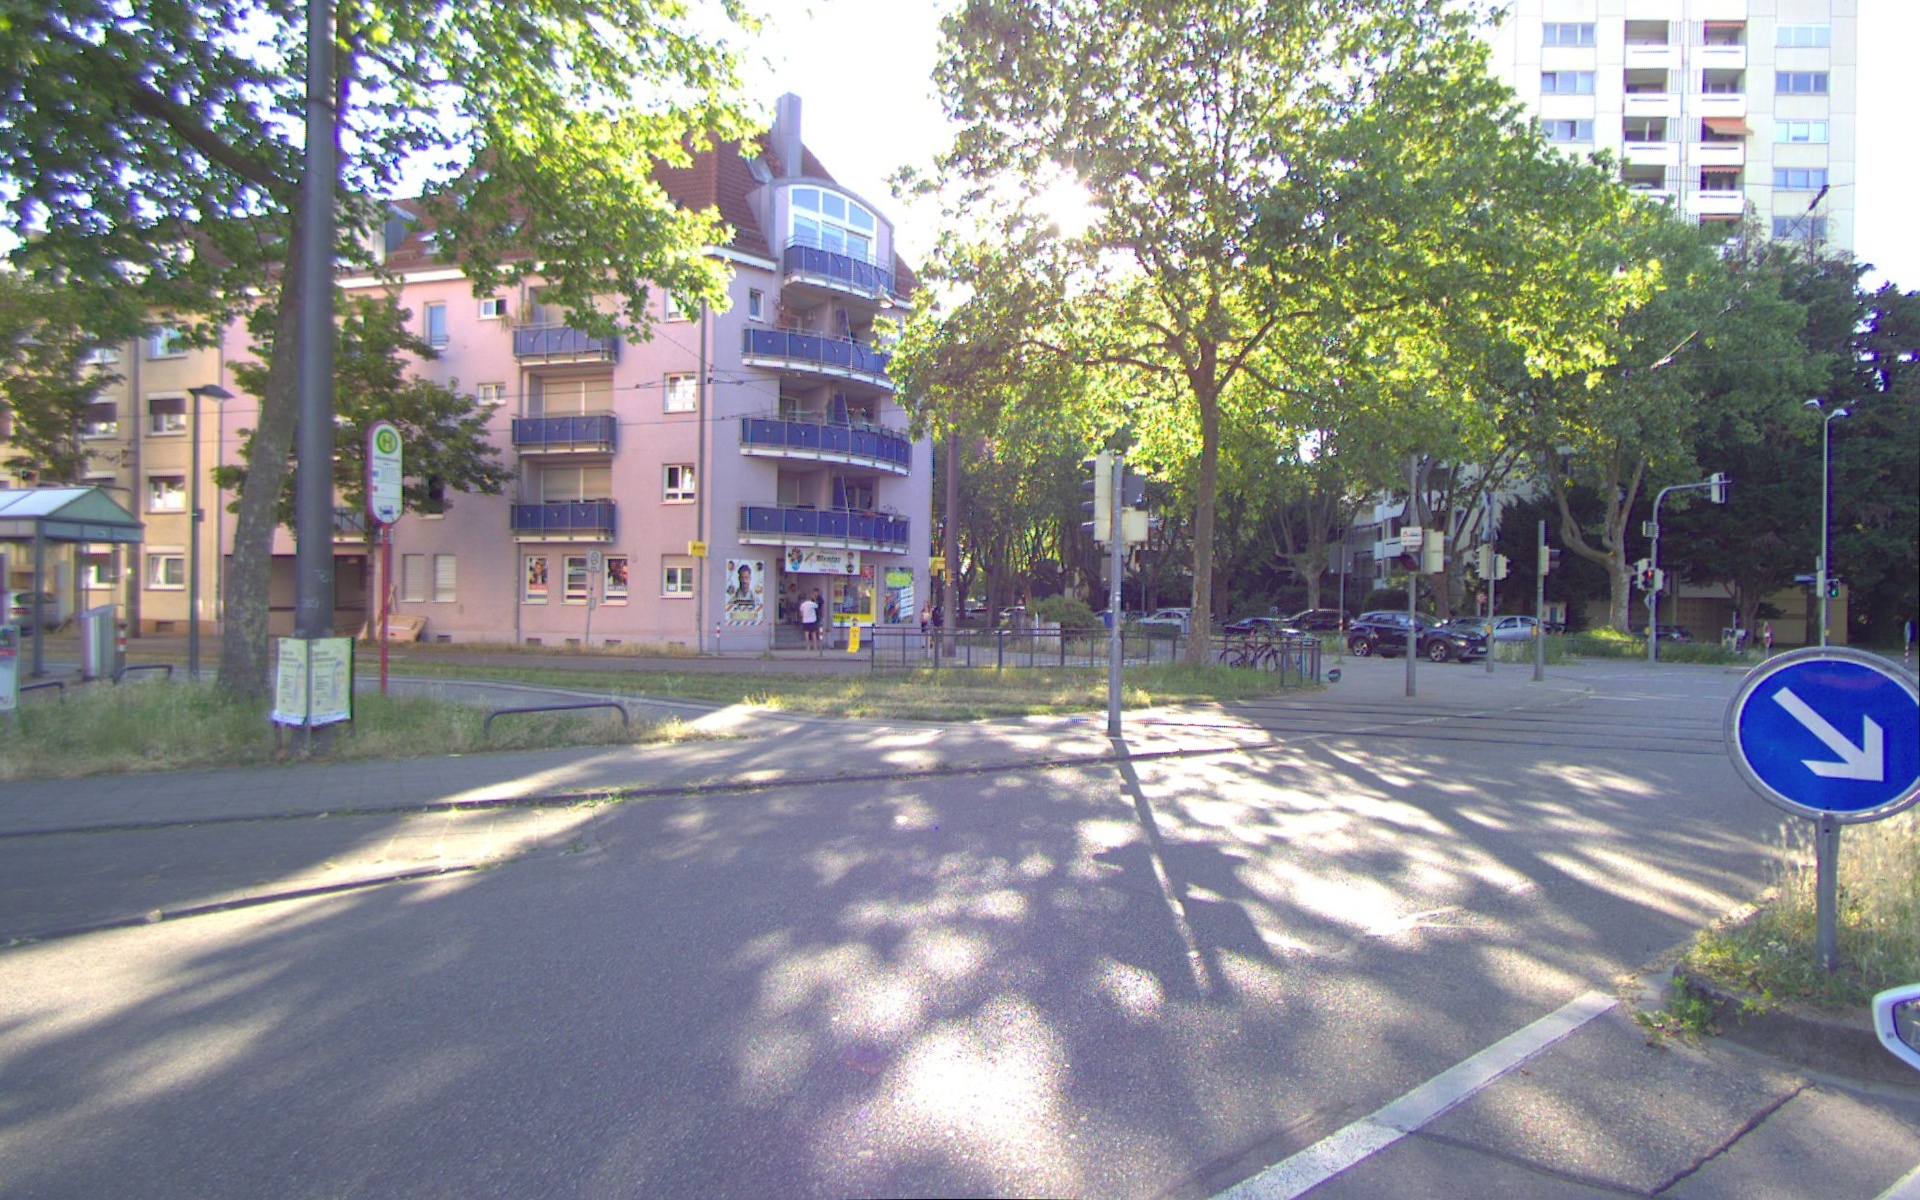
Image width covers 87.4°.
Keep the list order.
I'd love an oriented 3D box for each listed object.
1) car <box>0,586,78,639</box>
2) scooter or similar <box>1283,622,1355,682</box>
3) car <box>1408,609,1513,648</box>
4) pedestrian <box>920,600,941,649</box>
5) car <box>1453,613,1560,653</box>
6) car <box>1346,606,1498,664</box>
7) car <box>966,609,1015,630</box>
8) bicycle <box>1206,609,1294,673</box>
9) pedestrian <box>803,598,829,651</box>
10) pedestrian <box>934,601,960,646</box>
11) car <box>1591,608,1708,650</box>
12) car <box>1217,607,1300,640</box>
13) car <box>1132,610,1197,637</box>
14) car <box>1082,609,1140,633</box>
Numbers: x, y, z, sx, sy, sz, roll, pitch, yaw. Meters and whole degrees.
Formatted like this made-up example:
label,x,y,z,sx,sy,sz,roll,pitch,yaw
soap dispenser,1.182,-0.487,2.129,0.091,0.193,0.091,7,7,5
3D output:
label,x,y,z,sx,sy,sz,roll,pitch,yaw
car,-33.469,0.391,35.227,4.029,1.728,1.940,2,0,16
scooter or similar,7.931,1.148,22.210,1.412,1.255,0.414,2,0,9
car,22.850,1.297,45.959,3.921,1.617,1.738,2,0,0
pedestrian,-1.025,0.839,35.224,0.540,1.689,0.620,2,0,15
car,23.890,1.431,43.988,3.732,1.617,1.738,2,0,0
car,14.363,1.055,31.401,1.722,1.617,3.959,2,0,-36
car,2.620,1.670,86.373,3.919,1.617,1.739,2,0,9
bicycle,6.409,0.888,22.252,1.811,1.324,0.382,2,0,34
pedestrian,-4.686,0.795,32.691,0.610,1.689,0.549,2,0,38
pedestrian,-0.501,0.913,38.855,0.908,1.689,0.619,2,0,-5
car,31.633,1.304,46.207,1.971,1.798,3.979,2,0,-22
car,15.923,1.240,53.687,3.921,1.617,1.738,2,0,0
car,13.413,1.552,65.989,3.921,1.617,1.738,2,0,0
car,11.095,1.524,73.904,3.921,1.617,1.738,2,0,0
